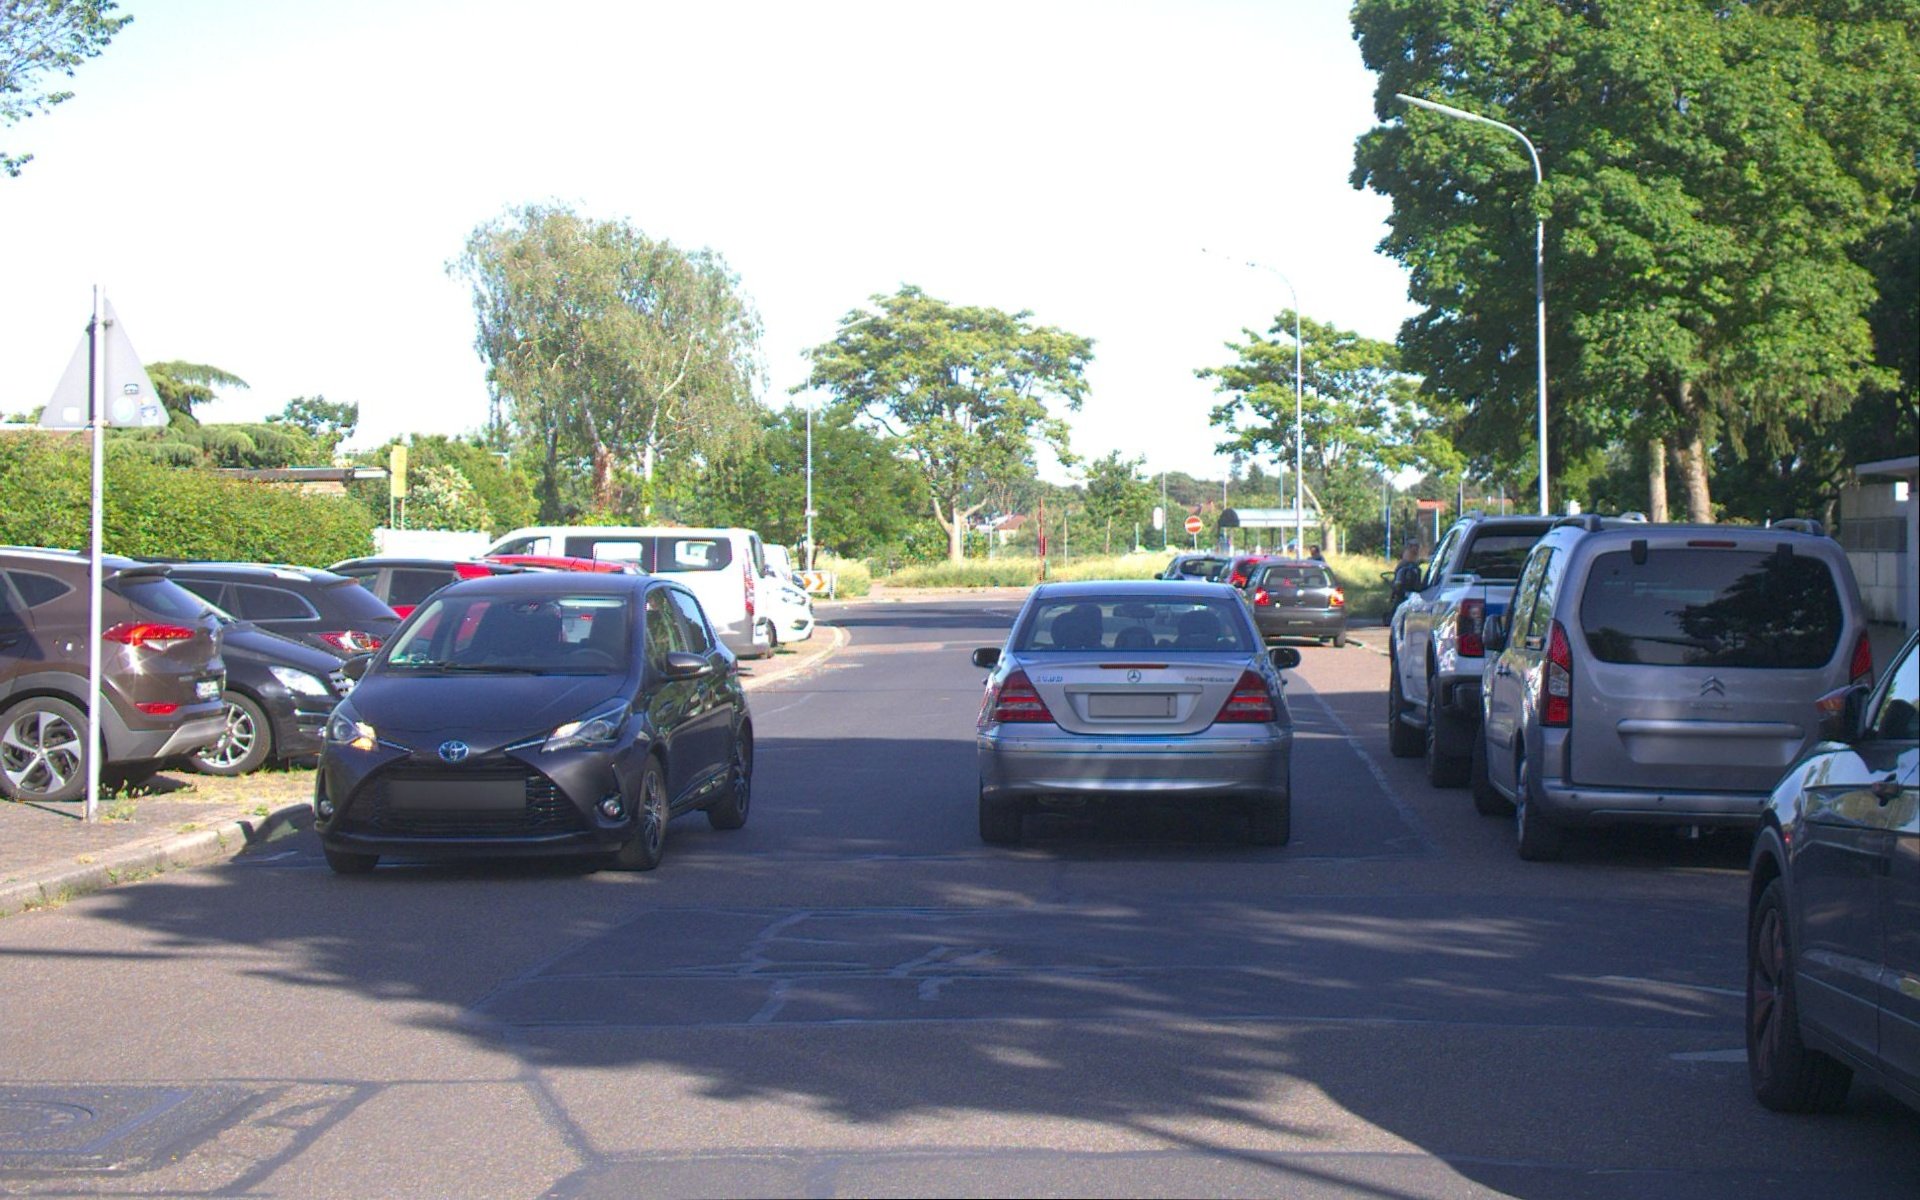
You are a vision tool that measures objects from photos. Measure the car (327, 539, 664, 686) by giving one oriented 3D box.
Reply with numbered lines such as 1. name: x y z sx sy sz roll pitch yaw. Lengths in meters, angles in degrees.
1. car: -5.424 0.127 40.433 3.602 1.562 1.881 2 1 3

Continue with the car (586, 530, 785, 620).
1. car: -5.602 -0.522 70.318 3.976 1.774 1.926 1 1 -4

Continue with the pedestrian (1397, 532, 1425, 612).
1. pedestrian: 8.839 -0.547 67.330 0.481 1.559 0.597 -2 -1 9

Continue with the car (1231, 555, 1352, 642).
1. car: 5.574 -0.032 58.187 1.647 1.398 3.882 -1 0 0

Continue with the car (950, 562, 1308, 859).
1. car: 0.966 0.541 19.857 1.816 1.458 4.360 1 1 3

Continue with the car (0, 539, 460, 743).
1. car: -6.284 0.306 27.959 4.092 1.507 1.812 2 0 2

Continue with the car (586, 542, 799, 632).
1. car: -4.647 -0.228 59.984 3.514 1.441 1.636 2 0 1

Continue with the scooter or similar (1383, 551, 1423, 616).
1. scooter or similar: 8.520 -0.317 66.148 0.623 1.223 0.905 -1 0 -1

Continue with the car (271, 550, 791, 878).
1. car: -2.173 0.546 18.512 1.650 1.550 4.000 -1 0 10

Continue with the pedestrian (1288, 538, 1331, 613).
1. pedestrian: 7.442 -0.523 73.179 0.787 1.559 0.570 2 0 -1

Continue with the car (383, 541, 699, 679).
1. car: -5.197 0.109 42.928 3.602 1.562 1.852 2 1 3

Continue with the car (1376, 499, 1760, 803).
1. car: 4.098 0.246 24.038 1.907 1.834 5.274 2 2 2

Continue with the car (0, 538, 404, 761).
1. car: -6.344 0.331 25.758 3.987 1.527 1.832 2 0 2

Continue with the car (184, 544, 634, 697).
1. car: -5.963 0.204 37.508 4.544 1.474 1.747 2 1 3

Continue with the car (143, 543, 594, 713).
1. car: -5.714 0.249 33.493 3.987 1.474 1.791 2 1 3

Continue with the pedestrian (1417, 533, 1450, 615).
1. pedestrian: 9.114 -0.504 66.173 0.485 1.559 0.469 -2 -1 -5

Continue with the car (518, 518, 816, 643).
1. car: -4.877 -0.327 57.706 4.788 1.914 2.082 2 0 0

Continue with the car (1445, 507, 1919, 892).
1. car: 3.835 0.417 18.832 1.833 1.785 4.555 2 2 2

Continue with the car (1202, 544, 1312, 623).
1. car: 5.665 -0.320 65.902 1.575 1.441 3.789 1 0 -3

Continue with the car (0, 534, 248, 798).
1. car: -7.051 0.370 22.853 4.187 1.650 1.846 2 0 1

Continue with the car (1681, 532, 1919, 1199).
1. car: 2.960 0.665 8.102 1.804 1.588 4.023 2 1 3

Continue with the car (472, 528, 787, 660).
1. car: -4.625 -0.087 48.526 4.151 1.700 1.883 2 0 3

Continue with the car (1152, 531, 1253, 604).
1. car: 5.307 -0.707 75.607 1.731 1.538 3.789 1 0 -3

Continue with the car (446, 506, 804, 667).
1. car: -4.434 -0.181 46.001 4.479 1.970 2.000 2 0 2
